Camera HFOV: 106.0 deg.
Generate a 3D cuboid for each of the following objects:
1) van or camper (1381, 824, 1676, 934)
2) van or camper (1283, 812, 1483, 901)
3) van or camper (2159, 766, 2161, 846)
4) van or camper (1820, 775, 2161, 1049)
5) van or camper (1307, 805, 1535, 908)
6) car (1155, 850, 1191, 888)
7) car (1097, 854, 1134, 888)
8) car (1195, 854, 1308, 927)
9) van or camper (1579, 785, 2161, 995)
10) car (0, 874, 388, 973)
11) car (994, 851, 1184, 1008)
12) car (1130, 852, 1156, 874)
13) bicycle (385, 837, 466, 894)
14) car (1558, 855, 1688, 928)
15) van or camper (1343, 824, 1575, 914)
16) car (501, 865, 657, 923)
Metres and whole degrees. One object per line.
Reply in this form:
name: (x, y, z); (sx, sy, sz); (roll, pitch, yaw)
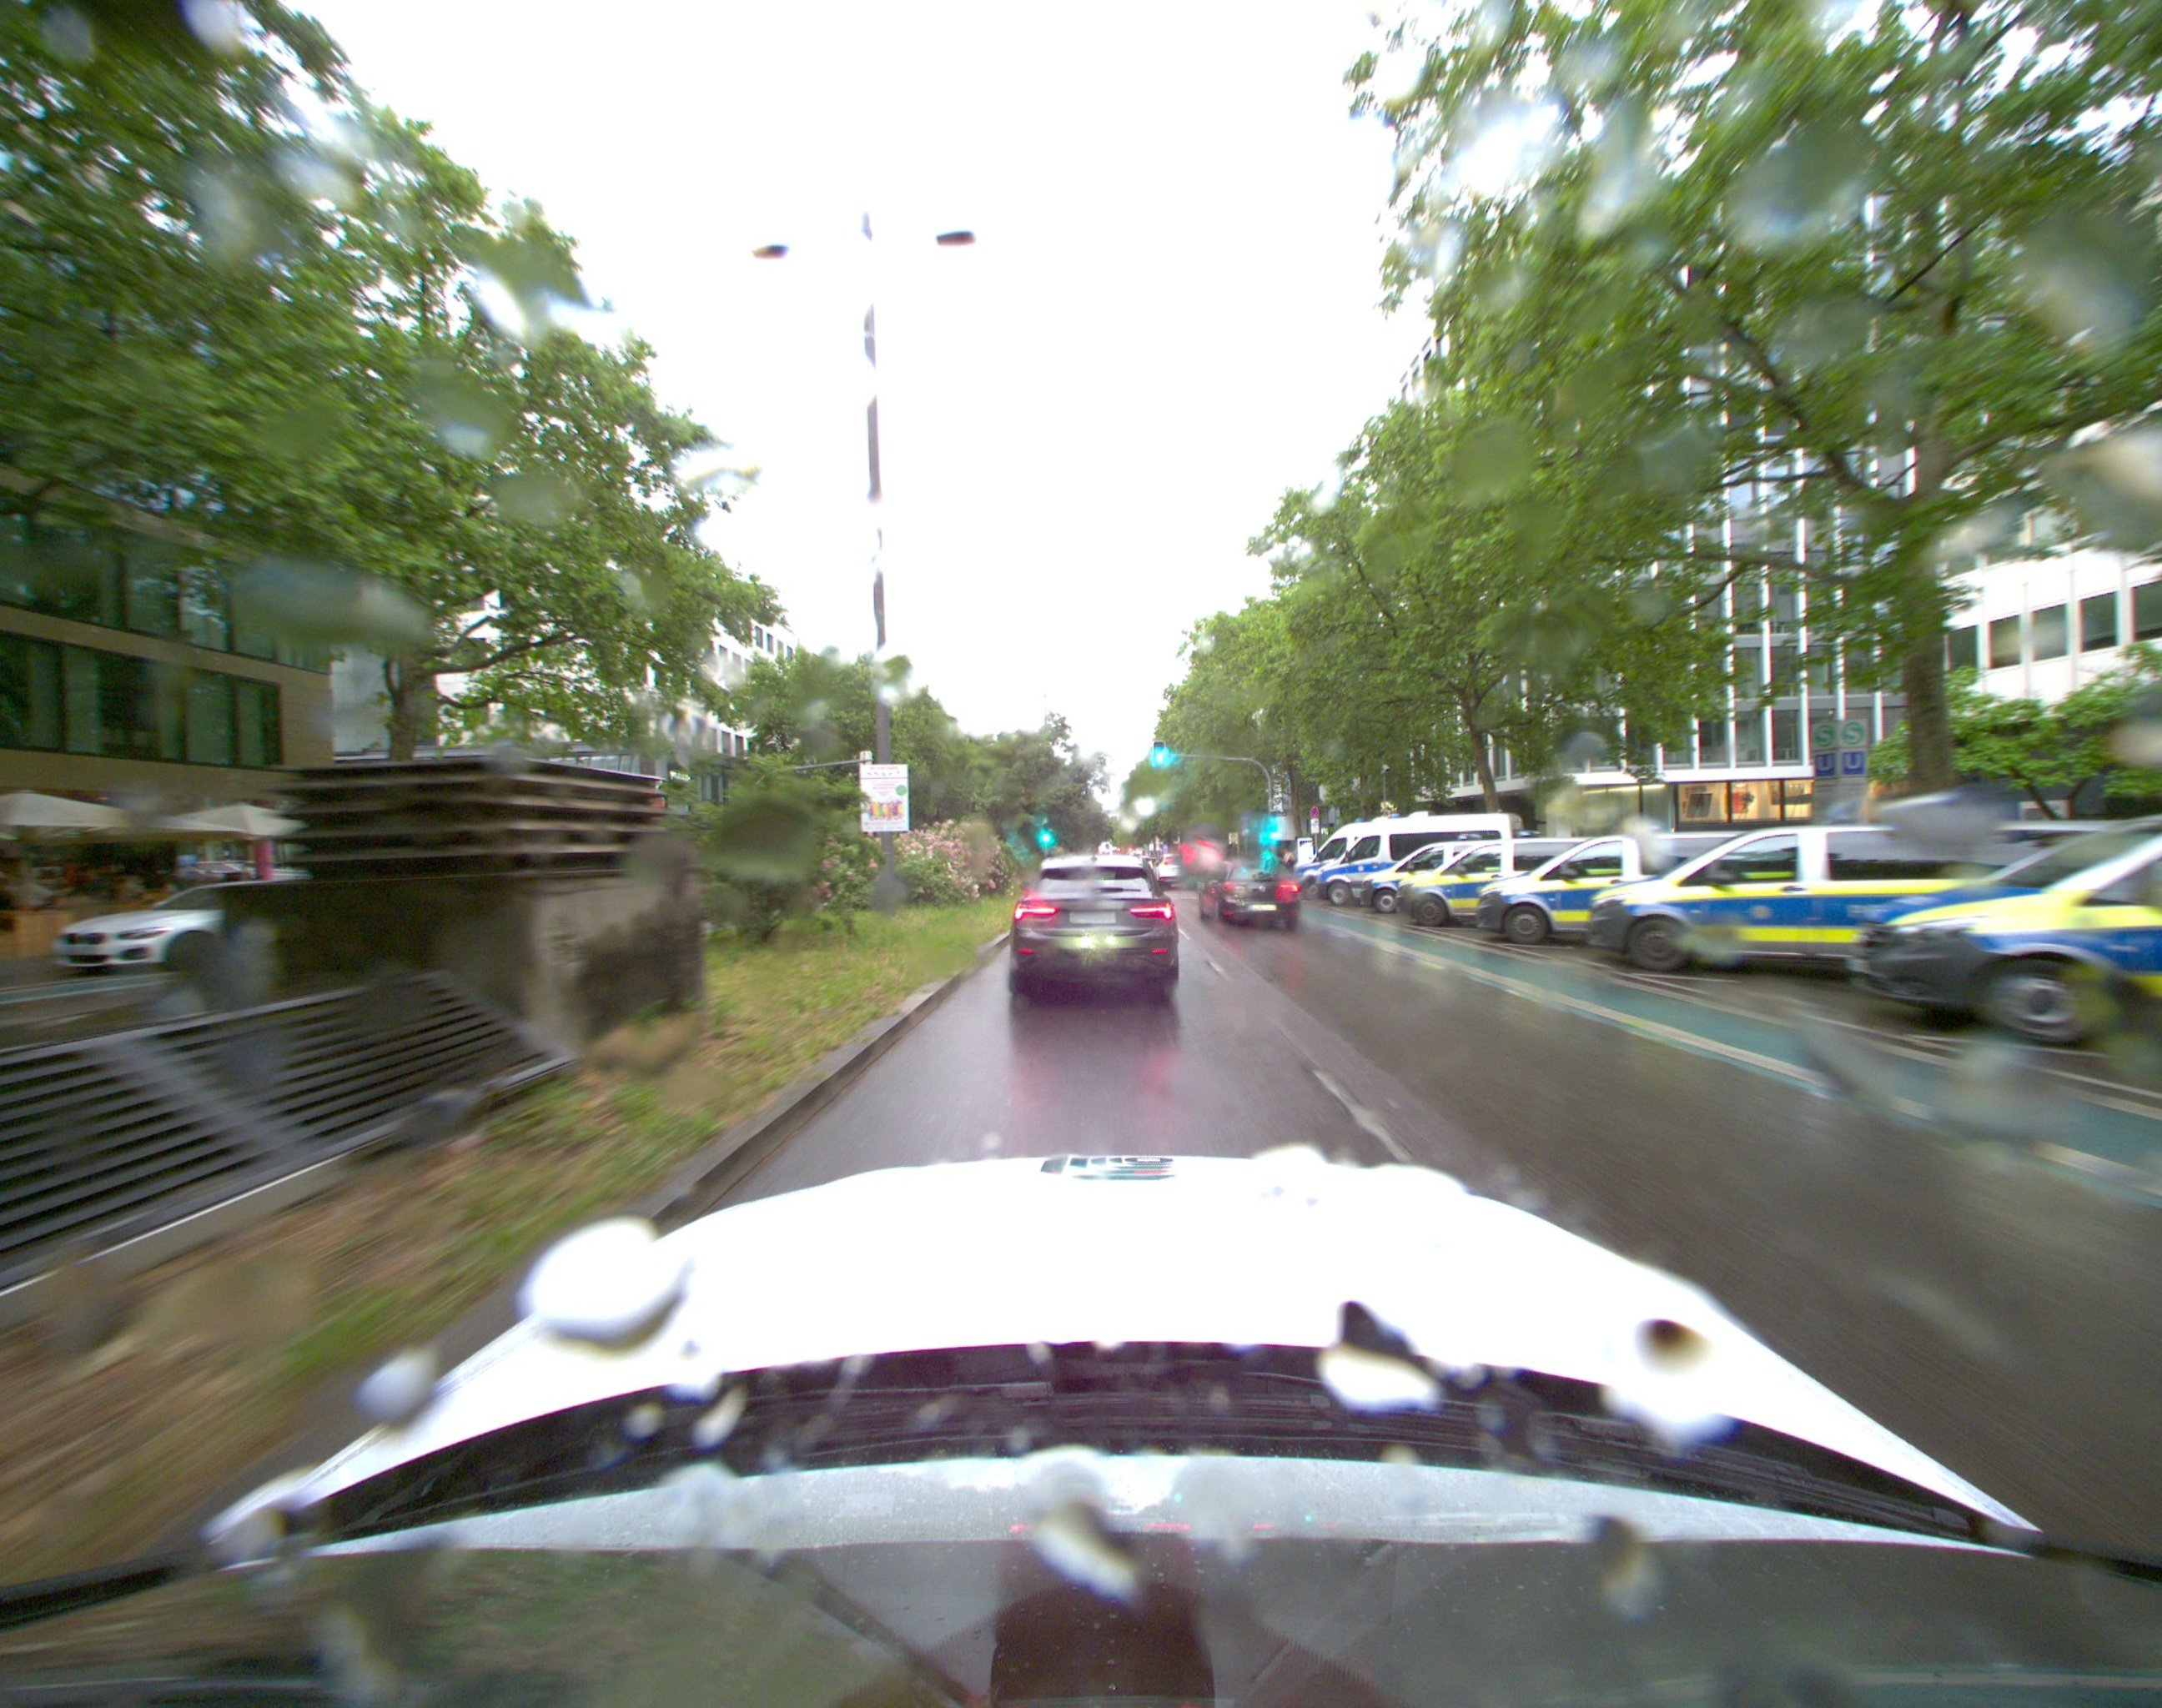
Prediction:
van or camper: (9.198, 0.476, 16.974); (5.142, 1.992, 2.013); (-1, -1, 36)
van or camper: (9.875, 0.111, 26.942); (5.741, 2.677, 2.161); (-1, 0, 39)
van or camper: (8.602, 0.370, 3.278); (4.733, 2.011, 2.013); (-1, -1, 38)
van or camper: (9.212, 0.391, 6.249); (4.959, 1.995, 2.013); (-2, 0, 34)
van or camper: (9.780, 0.118, 23.749); (5.736, 2.680, 2.013); (-2, 0, 37)
car: (4.339, 0.688, 38.652); (1.427, 1.685, 2.980); (-2, 0, 2)
car: (1.705, 0.799, 40.979); (1.715, 1.577, 3.963); (-2, 0, 2)
car: (3.713, 0.732, 18.377); (1.758, 1.413, 4.001); (-2, 0, 1)
van or camper: (9.312, 0.376, 10.122); (5.042, 2.025, 2.119); (-1, 0, 39)
car: (-15.606, 1.130, 14.817); (1.986, 1.370, 4.542); (1, 0, 2)
car: (0.204, 0.747, 10.369); (1.855, 1.532, 4.530); (-1, 0, 3)
car: (5.249, 0.760, 69.056); (1.986, 1.750, 4.002); (-2, 0, 2)
bicycle: (-24.412, 0.431, 30.362); (2.378, 2.013, 0.690); (-2, 0, -1)
car: (11.498, 0.738, 17.434); (1.046, 1.387, 2.695); (-2, 0, 2)
van or camper: (9.431, 0.411, 20.546); (4.952, 2.014, 2.013); (-2, -2, 37)
car: (-15.407, 1.166, 25.347); (1.987, 1.509, 4.517); (-2, 0, 0)
